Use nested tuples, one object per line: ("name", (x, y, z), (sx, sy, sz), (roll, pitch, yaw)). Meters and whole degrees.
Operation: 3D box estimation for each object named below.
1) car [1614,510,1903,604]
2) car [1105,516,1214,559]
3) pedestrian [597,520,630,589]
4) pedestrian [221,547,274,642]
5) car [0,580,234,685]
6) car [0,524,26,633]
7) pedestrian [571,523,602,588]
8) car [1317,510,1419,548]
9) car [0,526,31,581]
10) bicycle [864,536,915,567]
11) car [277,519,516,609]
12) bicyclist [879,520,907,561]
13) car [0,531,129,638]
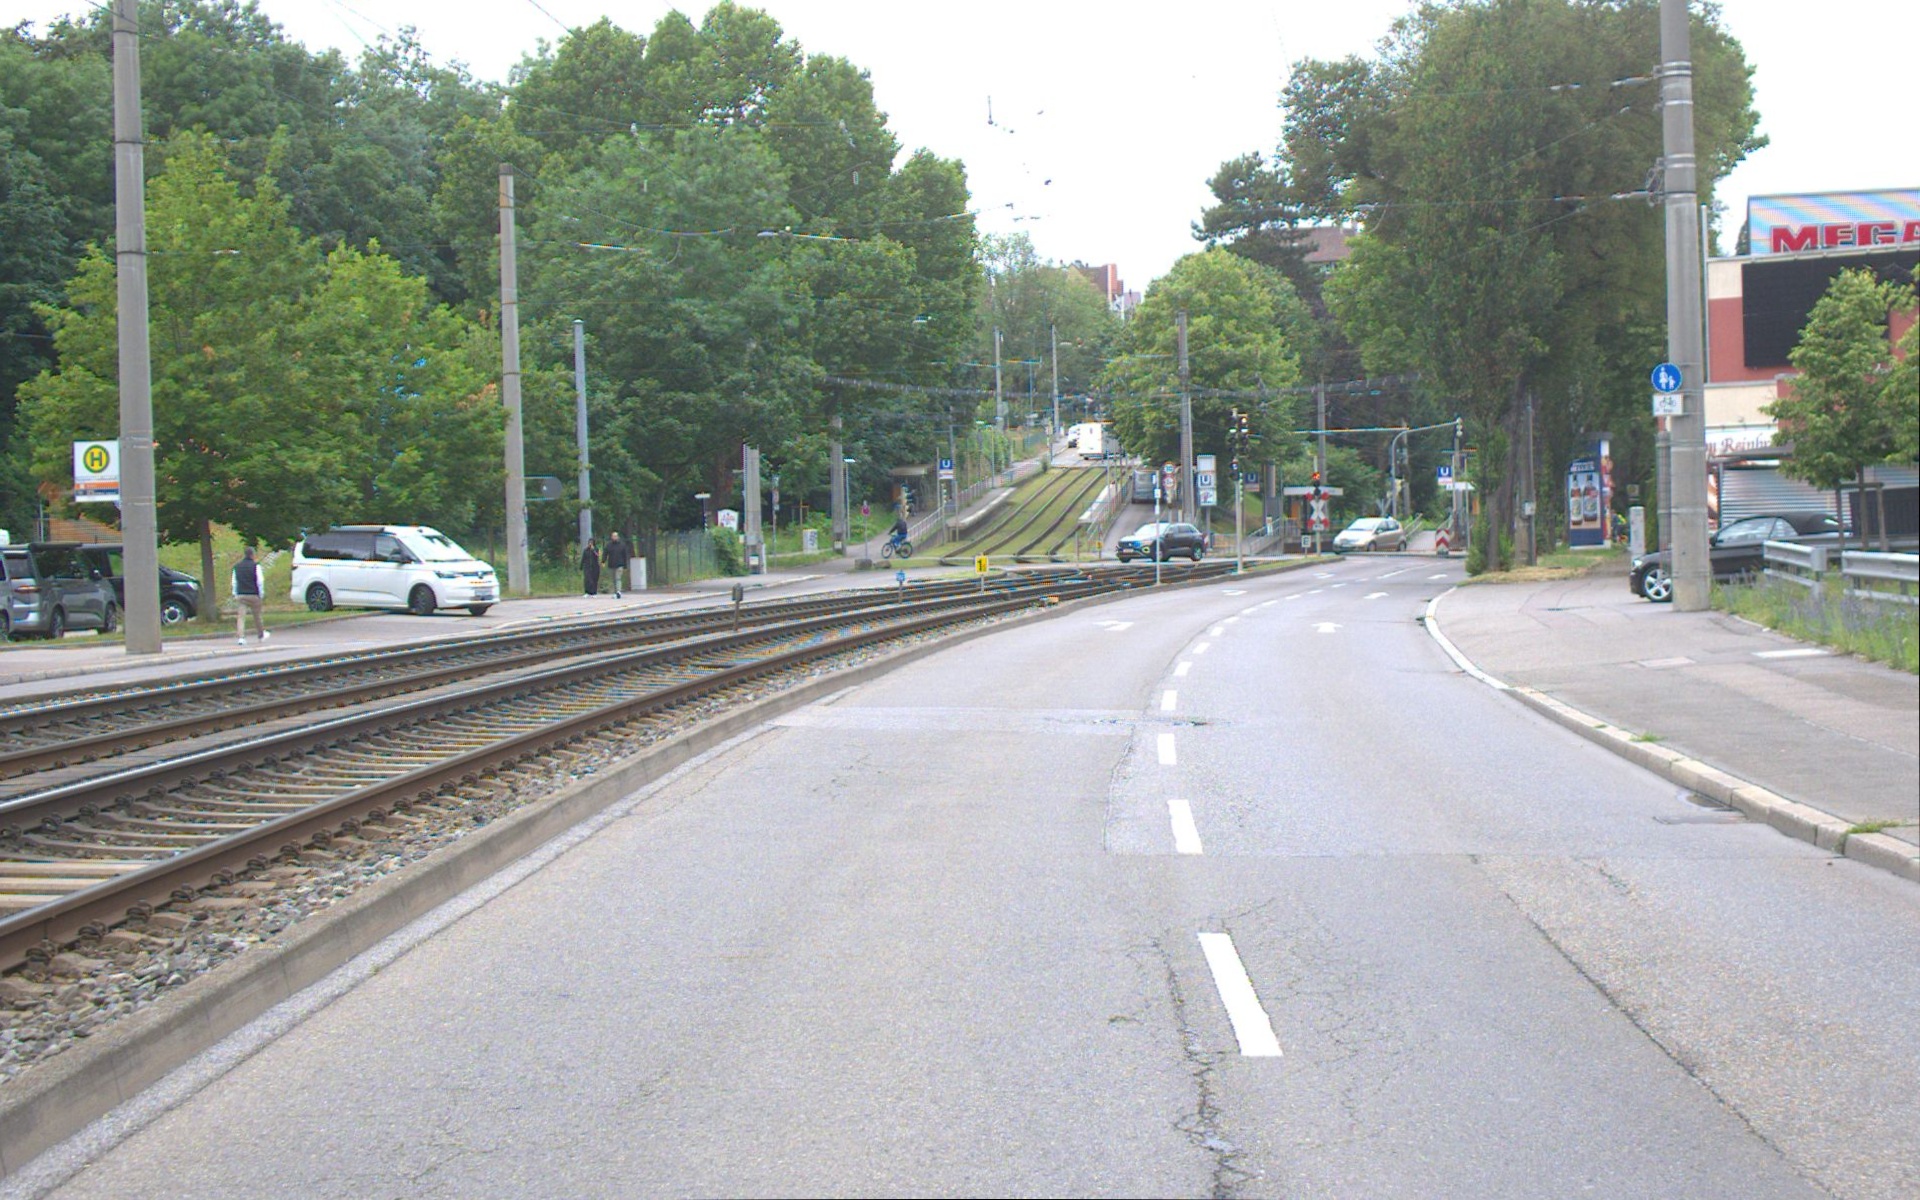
("car", (13.014, -0.699, 56.119), (4.228, 1.438, 1.760), (-1, 1, 35))
("car", (7.844, -2.449, 135.165), (4.244, 1.527, 1.691), (-1, -3, -41))
("pedestrian", (-9.232, -1.214, 91.612), (0.676, 1.807, 0.855), (1, 1, 9))
("pedestrian", (-12.583, -0.106, 60.742), (0.718, 1.650, 1.042), (1, 1, -1))
("car", (-18.175, 0.662, 72.627), (5.056, 2.007, 2.166), (-2, 1, -31))
("car", (-18.715, -0.344, 62.128), (1.994, 2.007, 4.919), (-1, 1, 4))
("pedestrian", (-9.967, -1.188, 91.698), (0.628, 1.707, 0.855), (1, 1, 9))
("car", (17.496, -3.048, 147.327), (4.244, 1.527, 1.896), (-1, -1, -41))
("car", (-35.972, -1.657, 123.994), (1.998, 2.007, 4.394), (0, 1, 37))
("bicycle", (-3.233, -2.207, 156.810), (0.824, 1.339, 2.996), (-2, 1, -33))
("car", (-12.567, -0.815, 76.529), (5.065, 1.881, 2.162), (1, 1, 32))
("bicyclist", (-3.060, -2.697, 156.504), (0.821, 1.843, 1.051), (-2, 1, -33))
("car", (-18.256, -0.330, 68.041), (1.994, 2.007, 5.129), (-1, 1, 4))
